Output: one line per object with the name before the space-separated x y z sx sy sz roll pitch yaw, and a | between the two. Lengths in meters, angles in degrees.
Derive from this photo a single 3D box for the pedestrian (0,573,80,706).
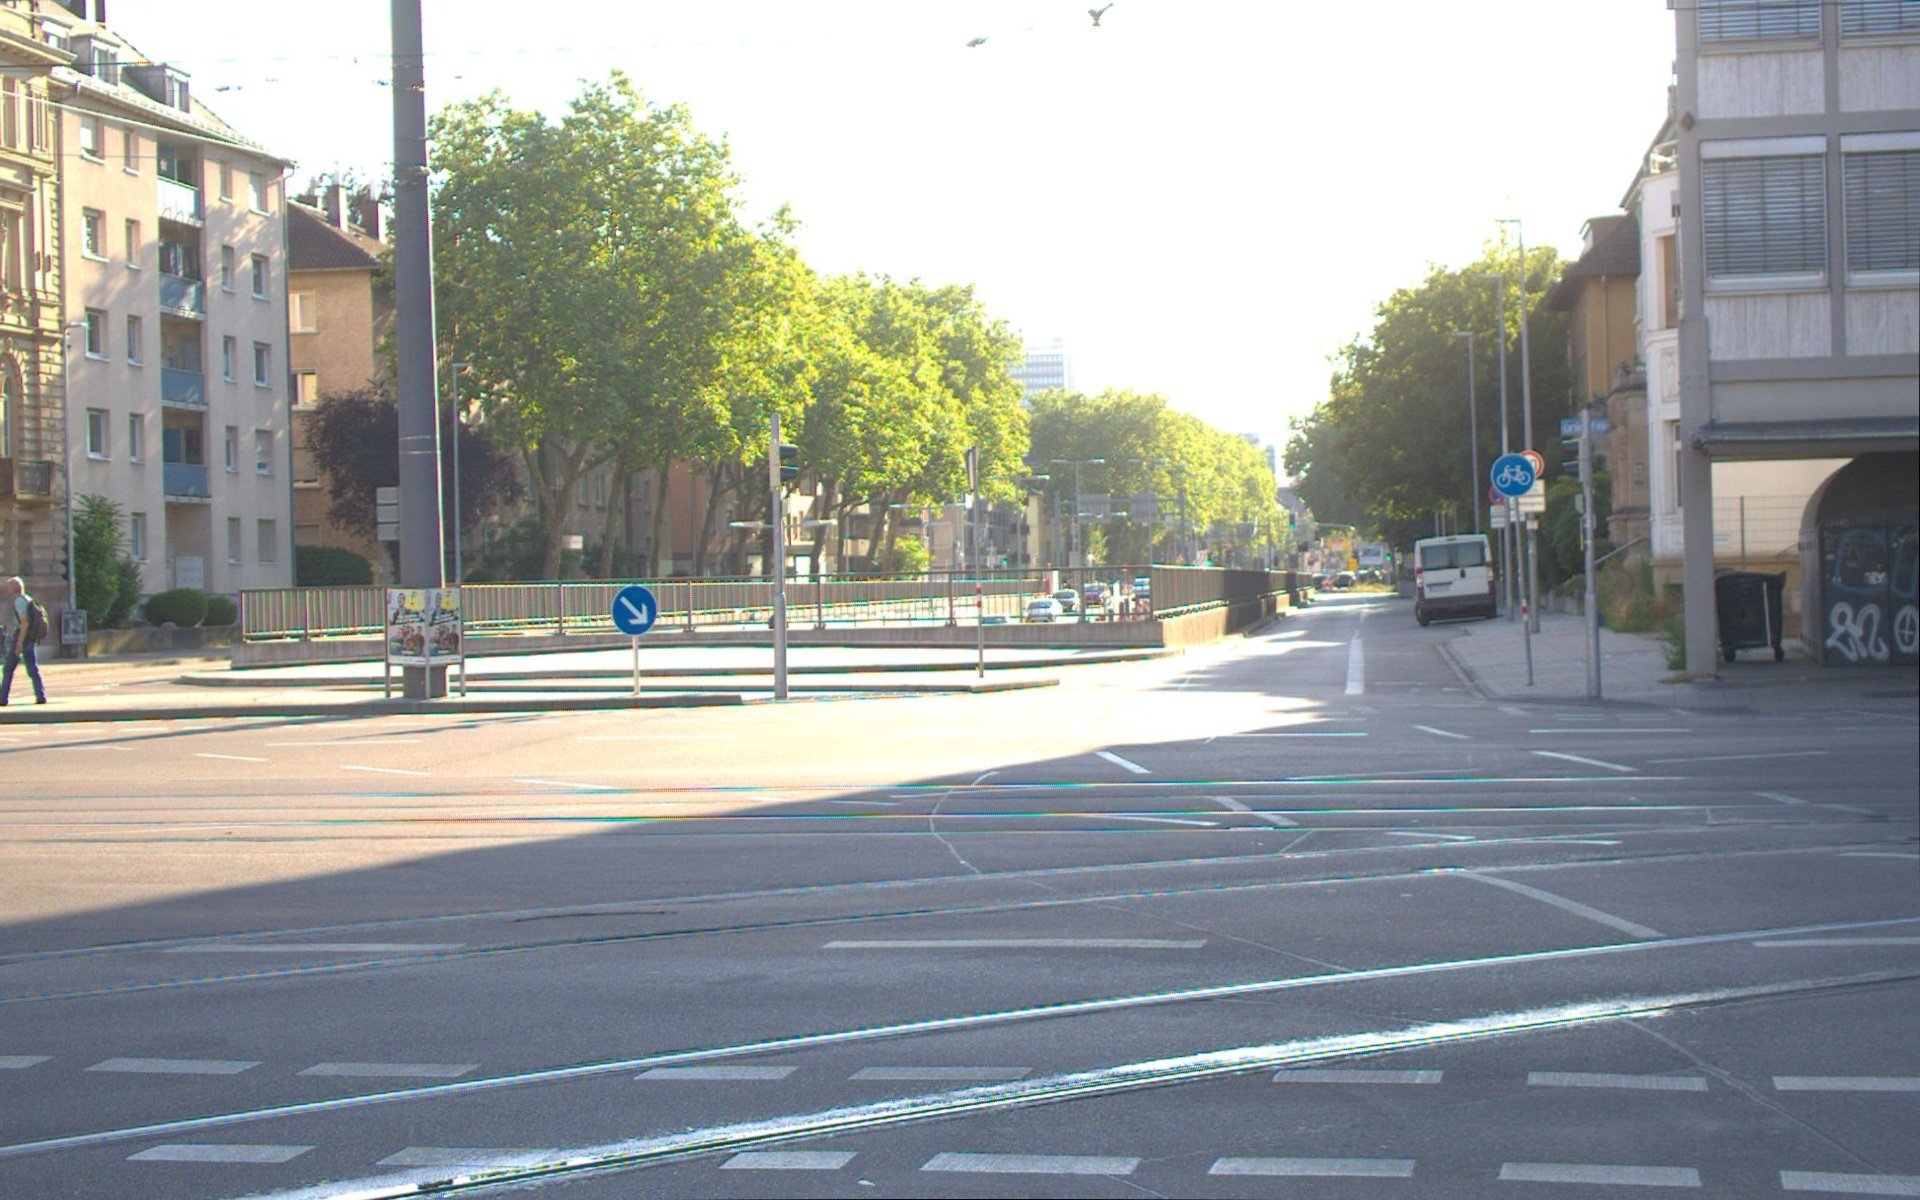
pedestrian | -12.291 0.511 45.189 1.194 1.725 0.856 0 0 2

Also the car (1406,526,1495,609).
car | 13.184 -0.870 92.346 2.286 2.165 4.832 0 0 8
